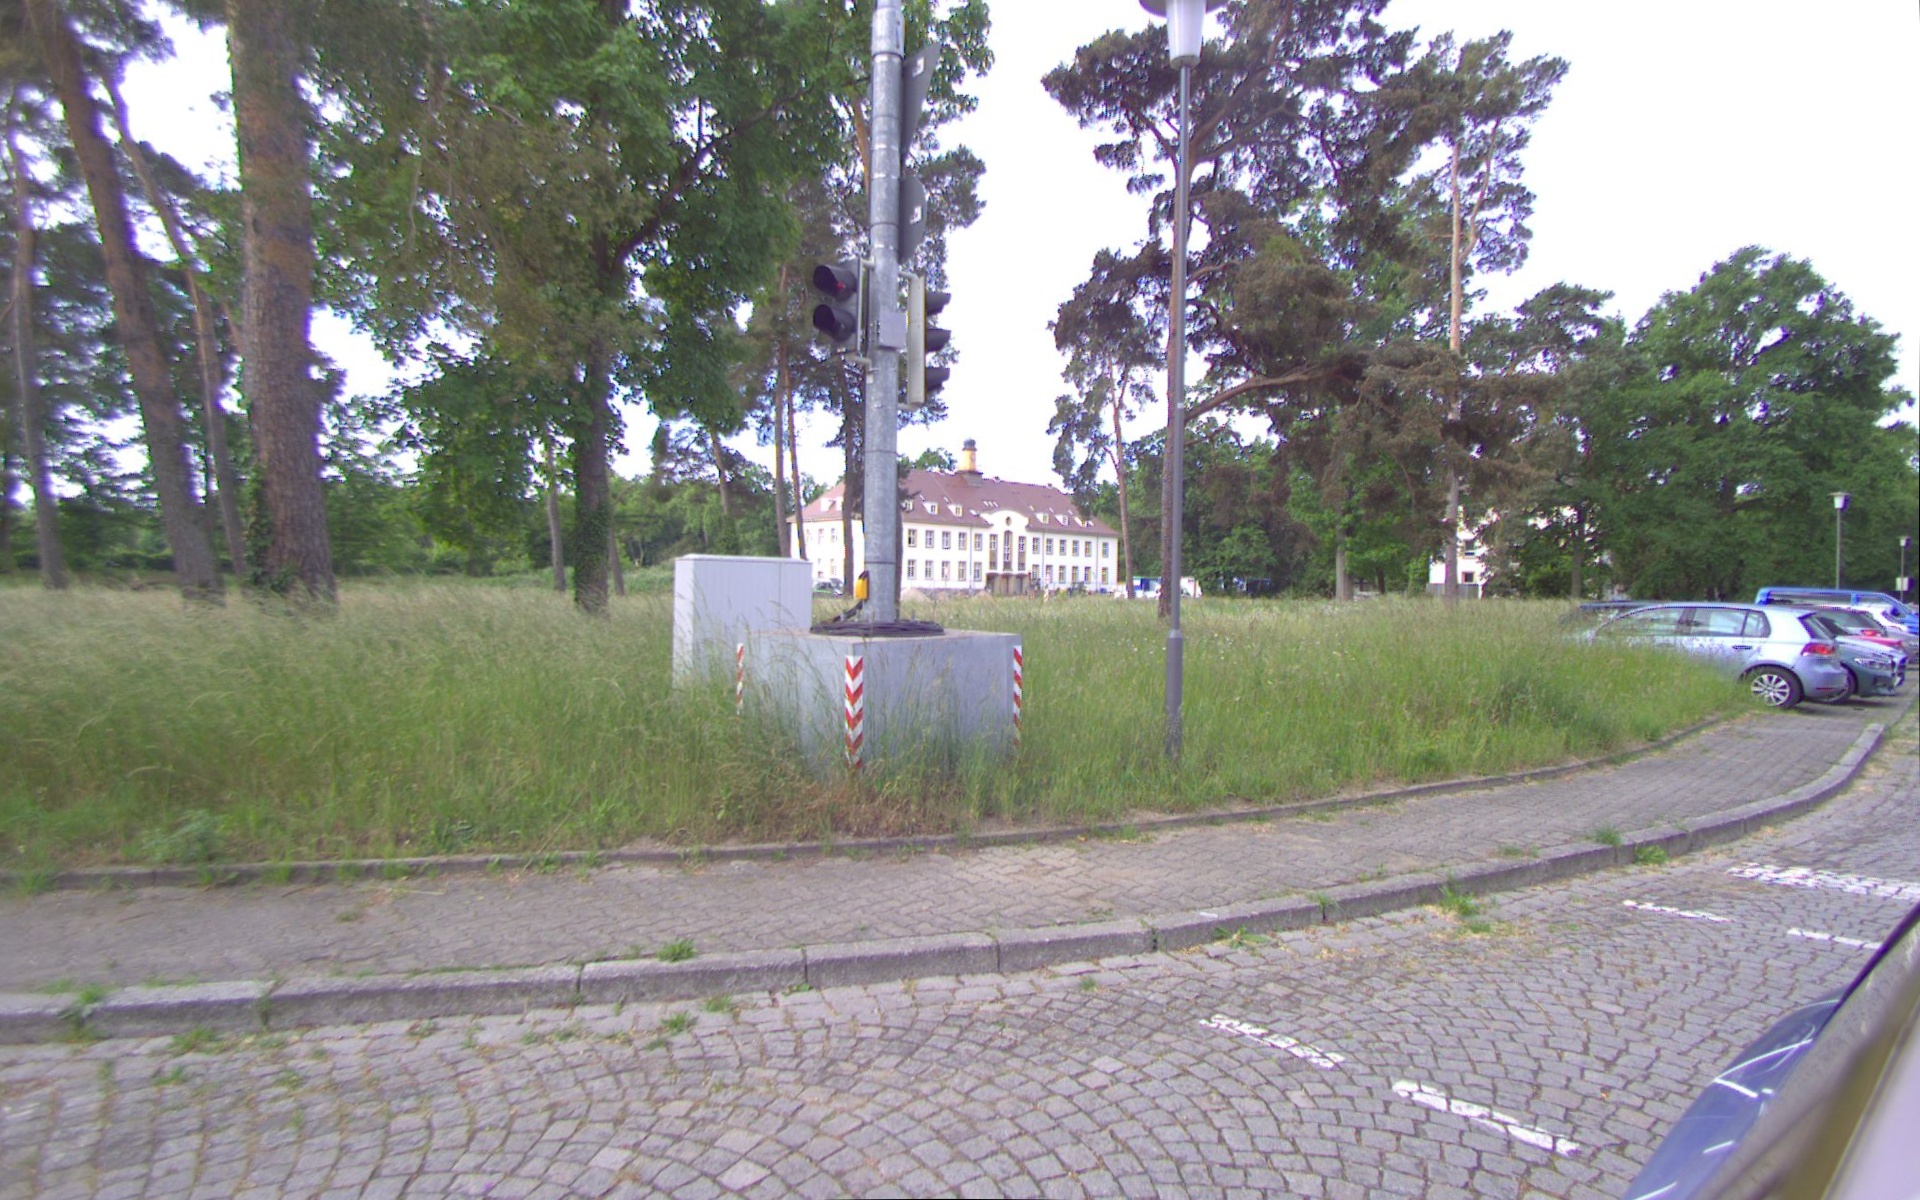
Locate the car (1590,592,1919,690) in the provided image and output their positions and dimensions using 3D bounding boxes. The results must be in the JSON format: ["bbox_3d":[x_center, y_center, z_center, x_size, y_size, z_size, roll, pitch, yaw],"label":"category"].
[{"bbox_3d":[14.684,0.660,18.810,1.782,1.501,4.763,0,1,-43],"label":"car"}]

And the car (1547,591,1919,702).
[{"bbox_3d":[12.662,0.654,16.826,4.758,1.501,1.734,2,1,44],"label":"car"}]

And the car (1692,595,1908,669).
[{"bbox_3d":[19.719,0.685,23.845,1.770,1.524,3.779,0,1,-45],"label":"car"}]

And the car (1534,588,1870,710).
[{"bbox_3d":[10.829,0.620,14.960,1.579,1.444,3.768,1,2,-43],"label":"car"}]

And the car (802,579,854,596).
[{"bbox_3d":[-15.113,-1.428,115.860,6.164,1.882,2.307,2,1,38],"label":"car"}]

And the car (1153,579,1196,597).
[{"bbox_3d":[24.724,-1.388,116.649,5.132,2.039,2.152,0,1,-41],"label":"car"}]

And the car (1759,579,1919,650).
[{"bbox_3d":[27.835,0.411,31.200,1.967,1.963,4.743,0,2,-43],"label":"car"}]

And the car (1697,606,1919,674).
[{"bbox_3d":[18.137,0.792,21.657,1.469,1.222,3.596,1,1,-42],"label":"car"}]

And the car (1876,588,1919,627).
[{"bbox_3d":[51.933,0.408,54.259,1.966,2.039,3.993,0,1,-42],"label":"car"}]

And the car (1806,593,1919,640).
[{"bbox_3d":[34.041,0.586,37.433,1.966,1.630,3.992,0,1,-43],"label":"car"}]

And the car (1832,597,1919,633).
[{"bbox_3d":[41.215,0.648,44.636,1.966,1.549,3.991,0,0,-43],"label":"car"}]

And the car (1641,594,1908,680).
[{"bbox_3d":[16.280,0.656,20.360,1.769,1.470,3.967,0,1,-43],"label":"car"}]

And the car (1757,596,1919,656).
[{"bbox_3d":[23.975,0.659,27.514,1.609,1.470,3.405,0,1,-42],"label":"car"}]

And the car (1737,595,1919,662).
[{"bbox_3d":[22.127,0.669,25.422,1.788,1.474,3.847,0,1,-40],"label":"car"}]

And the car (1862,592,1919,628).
[{"bbox_3d":[48.646,0.506,51.444,1.966,1.784,4.004,0,1,-42],"label":"car"}]
